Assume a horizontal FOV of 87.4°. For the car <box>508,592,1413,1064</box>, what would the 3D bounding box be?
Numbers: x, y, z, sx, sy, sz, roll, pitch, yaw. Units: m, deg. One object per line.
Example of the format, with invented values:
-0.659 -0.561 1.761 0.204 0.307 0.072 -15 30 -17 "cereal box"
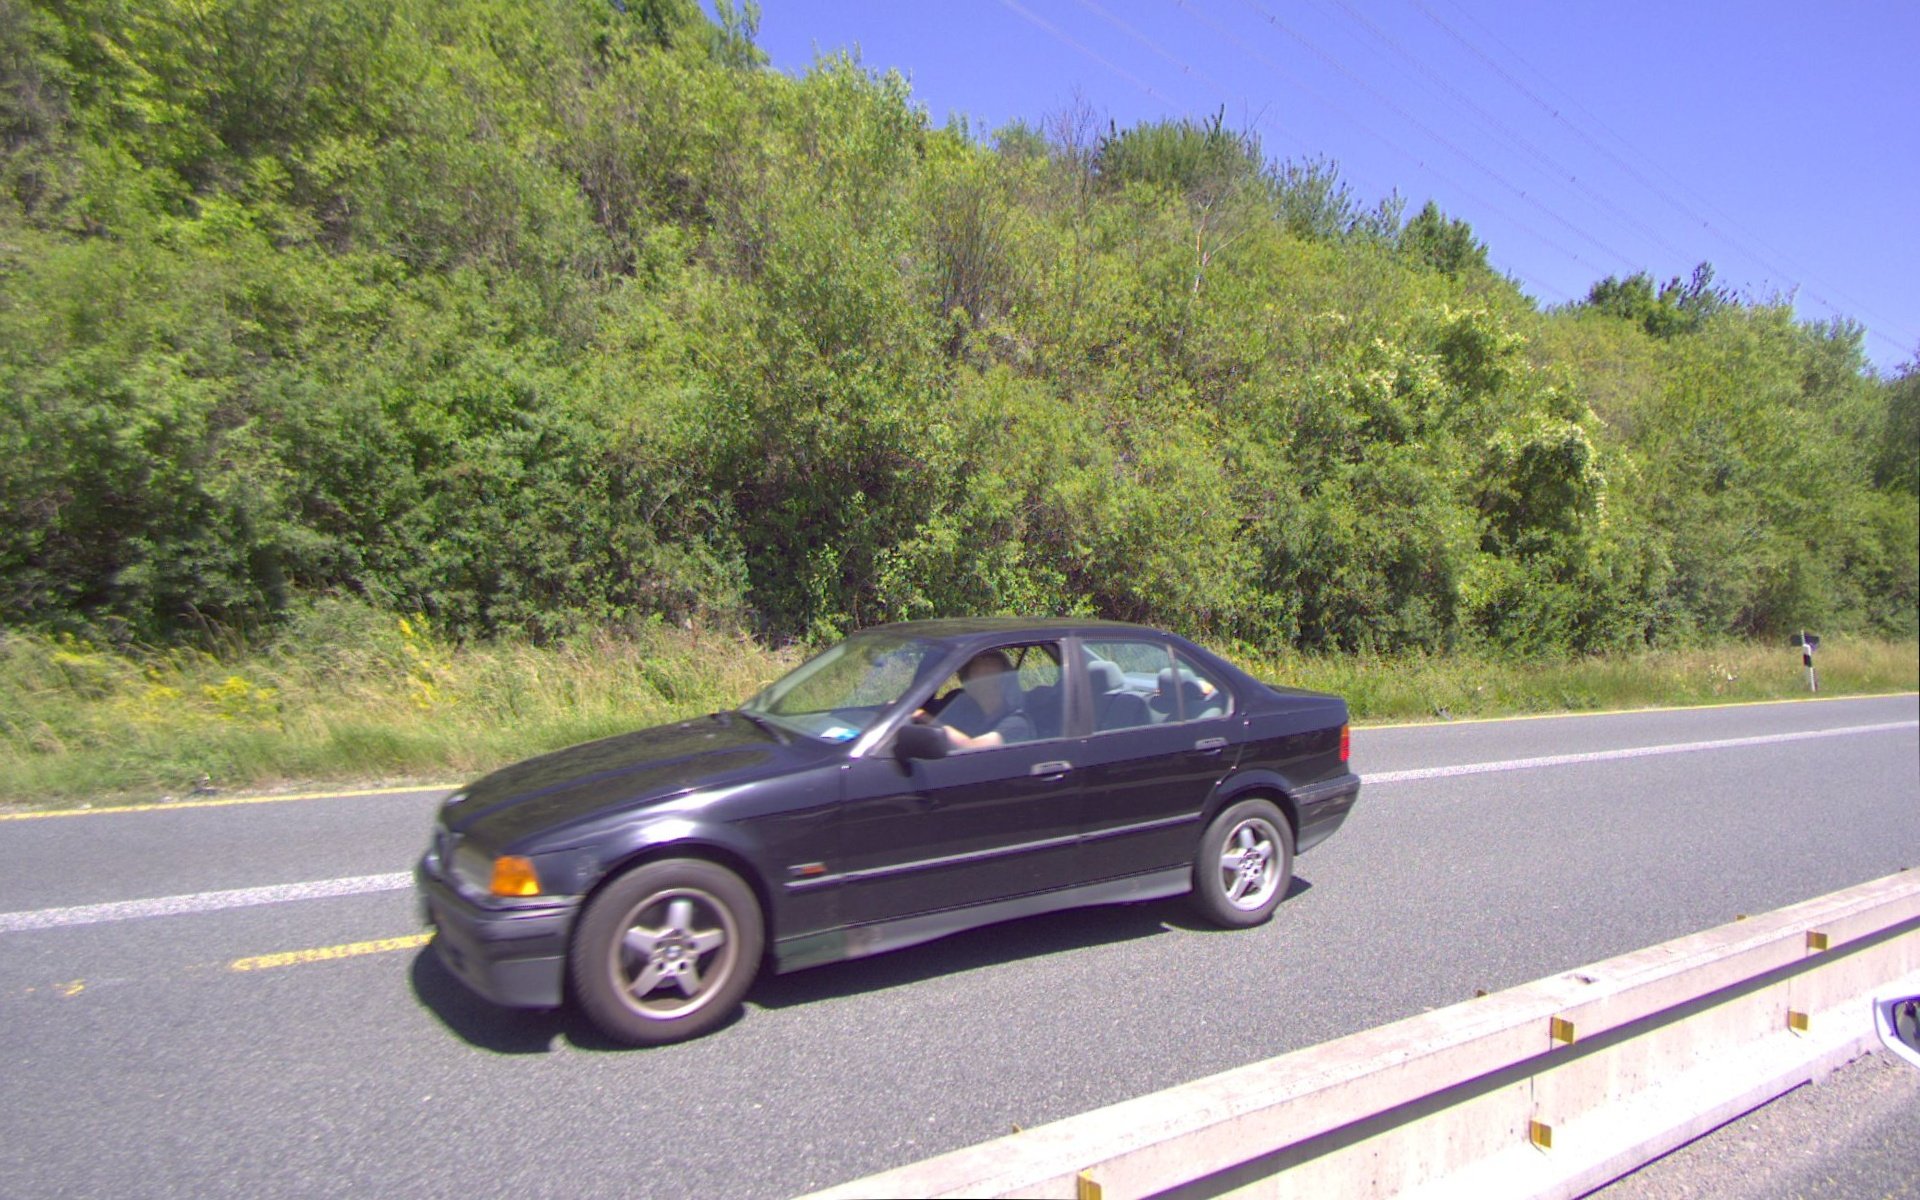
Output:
0.138 0.747 4.801 4.024 1.412 1.665 2 0 -31 "car"
